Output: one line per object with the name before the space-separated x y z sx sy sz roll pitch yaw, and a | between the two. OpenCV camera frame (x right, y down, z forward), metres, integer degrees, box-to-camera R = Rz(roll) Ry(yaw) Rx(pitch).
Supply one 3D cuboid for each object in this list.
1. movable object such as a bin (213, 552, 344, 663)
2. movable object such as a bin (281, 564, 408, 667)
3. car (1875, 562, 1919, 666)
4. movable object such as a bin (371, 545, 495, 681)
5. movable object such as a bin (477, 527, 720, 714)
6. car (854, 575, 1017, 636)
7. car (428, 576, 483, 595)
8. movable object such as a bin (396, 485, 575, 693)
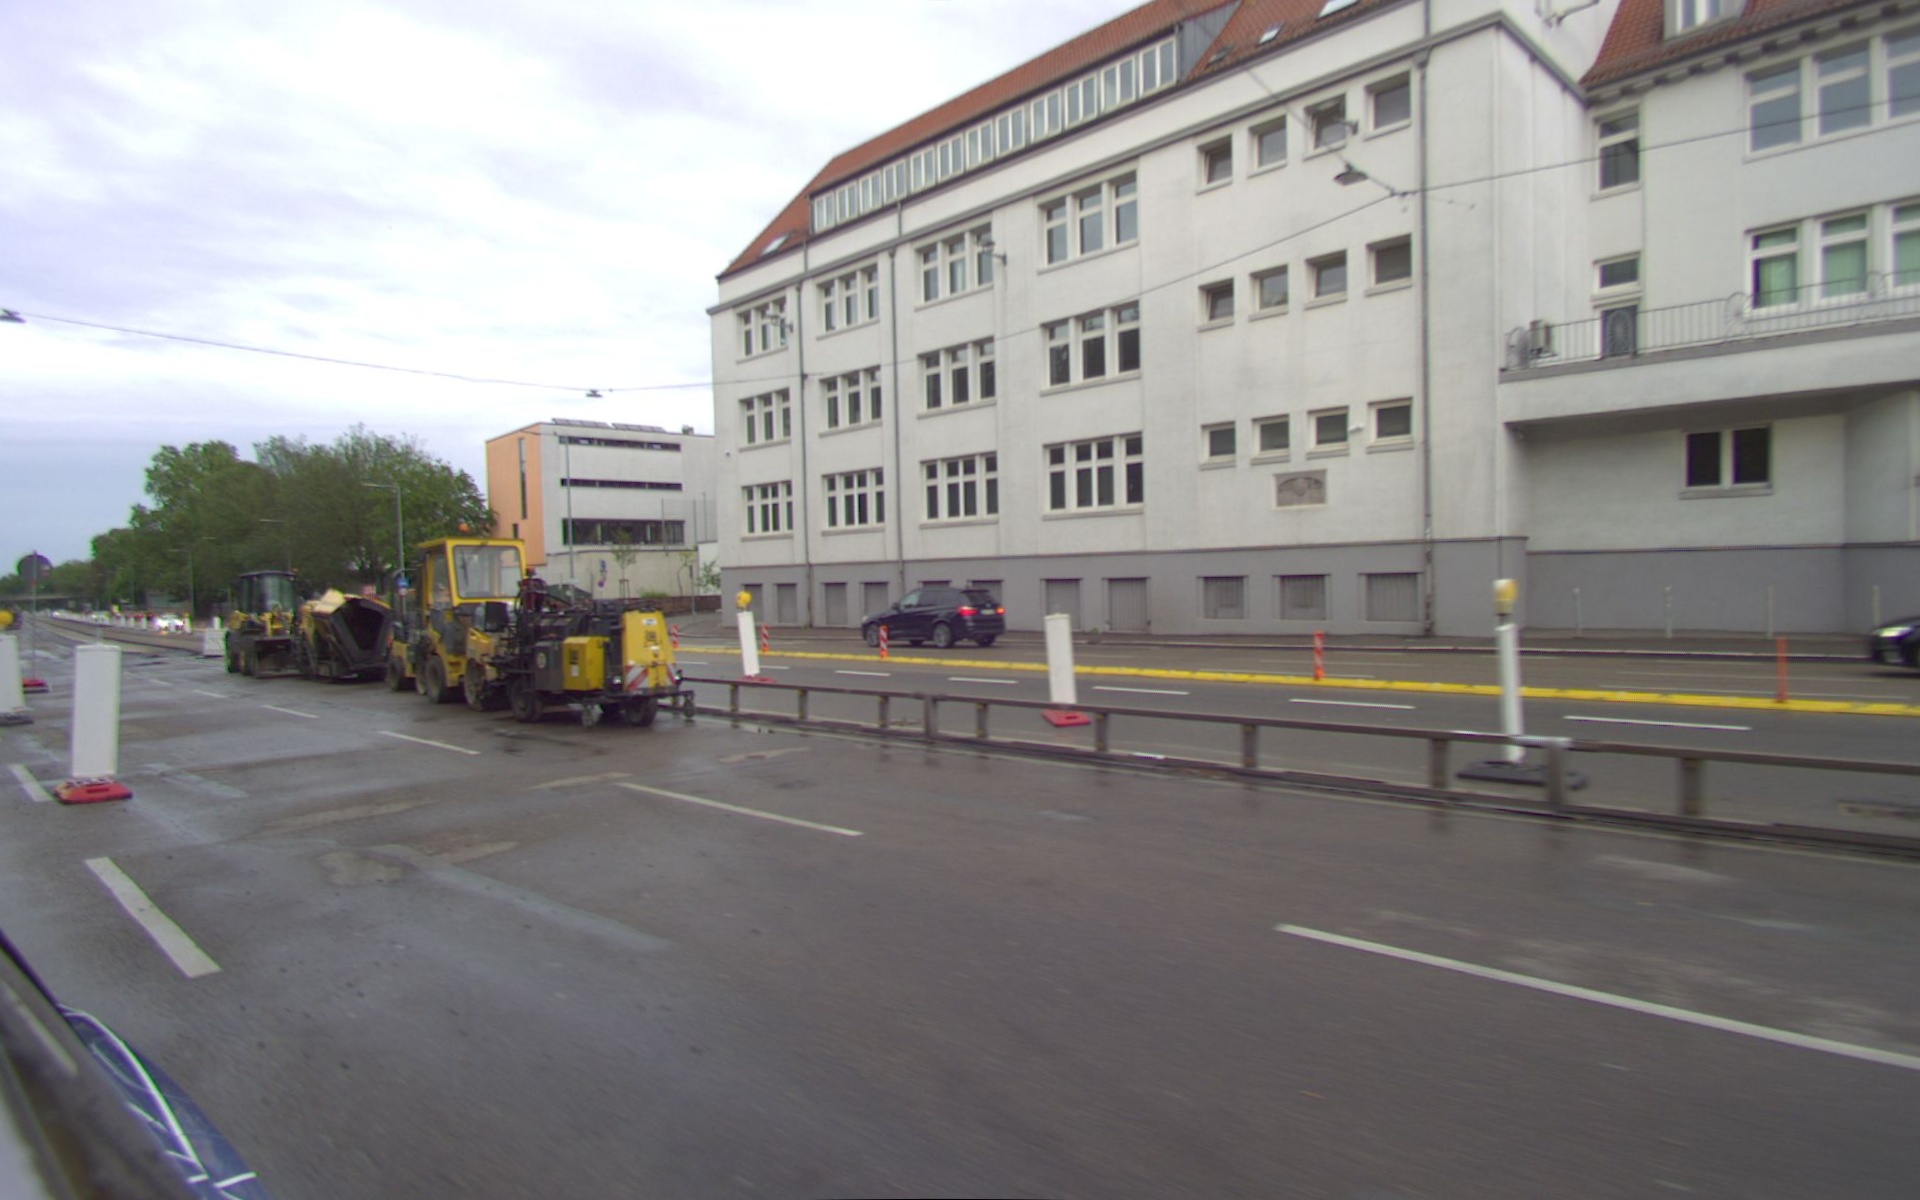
movable object such as a bin | -17.974 0.208 26.577 1.880 2.629 5.387 -2 0 -44
movable object such as a bin | -14.062 0.347 22.980 1.347 2.106 5.033 -2 0 -44
car | 14.814 0.156 13.189 4.251 1.416 1.743 -1 0 43
movable object such as a bin | -10.137 0.259 19.437 2.406 2.419 1.395 -2 -2 43
movable object such as a bin | -4.896 0.275 13.525 3.349 2.166 1.697 -2 -1 43
car | -0.759 0.183 28.260 4.557 1.555 1.814 -2 0 43
car | -46.022 -1.312 92.385 3.961 1.539 2.003 -2 1 -6
movable object such as a bin | -7.845 -0.121 16.578 3.726 3.031 1.449 -2 -2 45
